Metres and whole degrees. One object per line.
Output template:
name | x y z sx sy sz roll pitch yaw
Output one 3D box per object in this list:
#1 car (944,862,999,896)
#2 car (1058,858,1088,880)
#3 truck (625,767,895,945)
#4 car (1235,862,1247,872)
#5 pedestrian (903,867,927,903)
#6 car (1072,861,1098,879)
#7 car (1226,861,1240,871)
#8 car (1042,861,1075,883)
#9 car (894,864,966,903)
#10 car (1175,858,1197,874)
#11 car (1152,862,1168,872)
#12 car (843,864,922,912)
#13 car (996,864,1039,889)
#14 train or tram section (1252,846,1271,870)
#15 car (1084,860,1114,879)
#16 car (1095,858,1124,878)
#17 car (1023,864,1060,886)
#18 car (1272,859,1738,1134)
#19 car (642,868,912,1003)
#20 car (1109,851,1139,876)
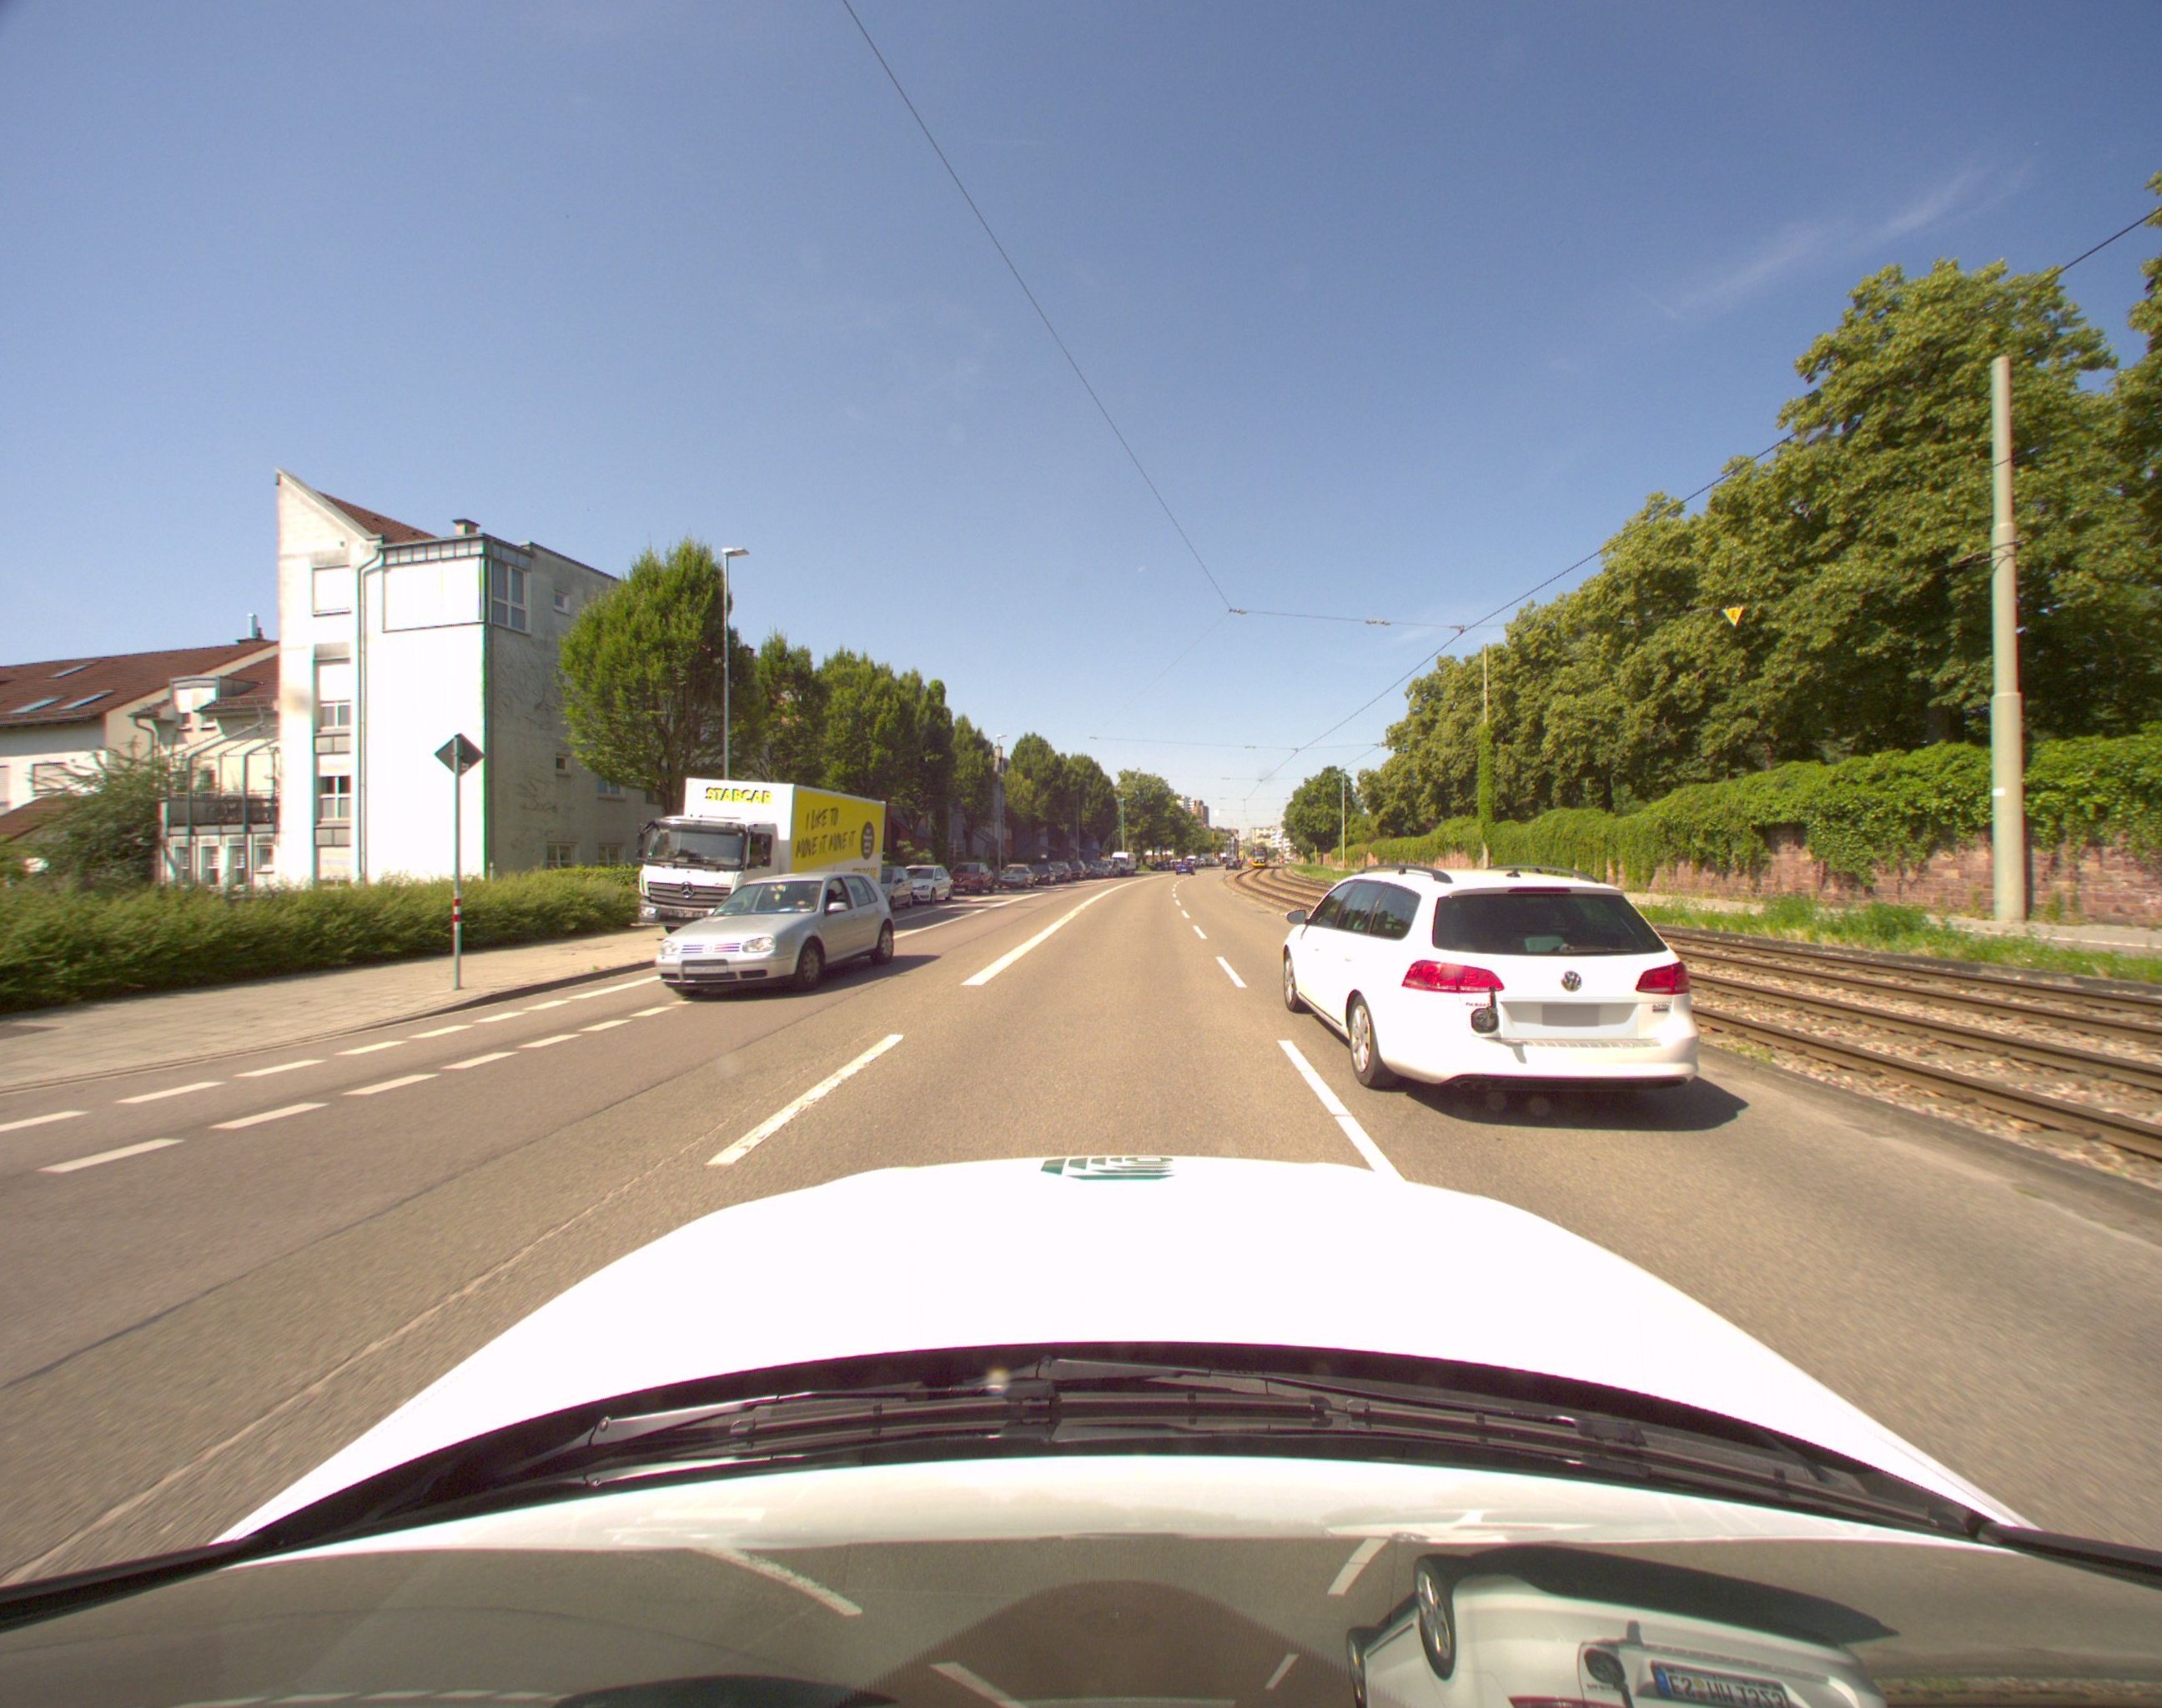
car | -5.384 1.199 40.494 1.722 1.552 4.325 0 0 6
car | -0.640 1.242 69.266 1.759 1.723 4.881 1 0 8
truck | -7.407 0.049 20.539 2.654 3.530 8.602 1 0 5
car | 25.922 2.071 131.949 1.788 1.460 4.014 -1 -1 13
pedestrian | -8.019 1.475 39.331 0.870 1.691 1.057 -1 -1 5
car | 0.398 1.446 74.665 1.679 1.474 4.060 2 0 11
car | 22.109 1.735 118.588 1.788 1.507 4.014 0 0 13
car | -1.726 1.386 63.810 1.707 1.625 4.323 1 0 9
car | -6.040 1.154 33.117 1.749 1.429 4.287 1 0 5
car | 10.705 1.208 82.957 1.788 1.507 4.014 0 1 13
car | 11.980 2.005 123.007 1.686 1.417 4.017 -1 -1 17
car | -6.724 1.126 27.933 1.602 1.484 3.639 1 0 3
car | -3.950 1.372 51.410 1.771 1.483 4.865 1 -1 6
train or tram section | 30.560 0.654 137.298 2.493 3.747 13.362 -1 -1 15
car | 1.792 1.491 79.664 1.788 1.724 4.927 2 0 14
car | 3.021 1.421 85.203 1.906 1.948 5.373 2 0 13
car | -2.764 1.444 57.899 1.713 1.474 4.725 1 0 8
car | 2.772 0.776 6.576 1.684 1.451 4.463 -1 0 4
car | -3.882 0.961 11.308 1.650 1.420 4.317 -3 -1 7
car | 4.969 1.096 93.408 1.980 2.714 7.184 2 0 14
